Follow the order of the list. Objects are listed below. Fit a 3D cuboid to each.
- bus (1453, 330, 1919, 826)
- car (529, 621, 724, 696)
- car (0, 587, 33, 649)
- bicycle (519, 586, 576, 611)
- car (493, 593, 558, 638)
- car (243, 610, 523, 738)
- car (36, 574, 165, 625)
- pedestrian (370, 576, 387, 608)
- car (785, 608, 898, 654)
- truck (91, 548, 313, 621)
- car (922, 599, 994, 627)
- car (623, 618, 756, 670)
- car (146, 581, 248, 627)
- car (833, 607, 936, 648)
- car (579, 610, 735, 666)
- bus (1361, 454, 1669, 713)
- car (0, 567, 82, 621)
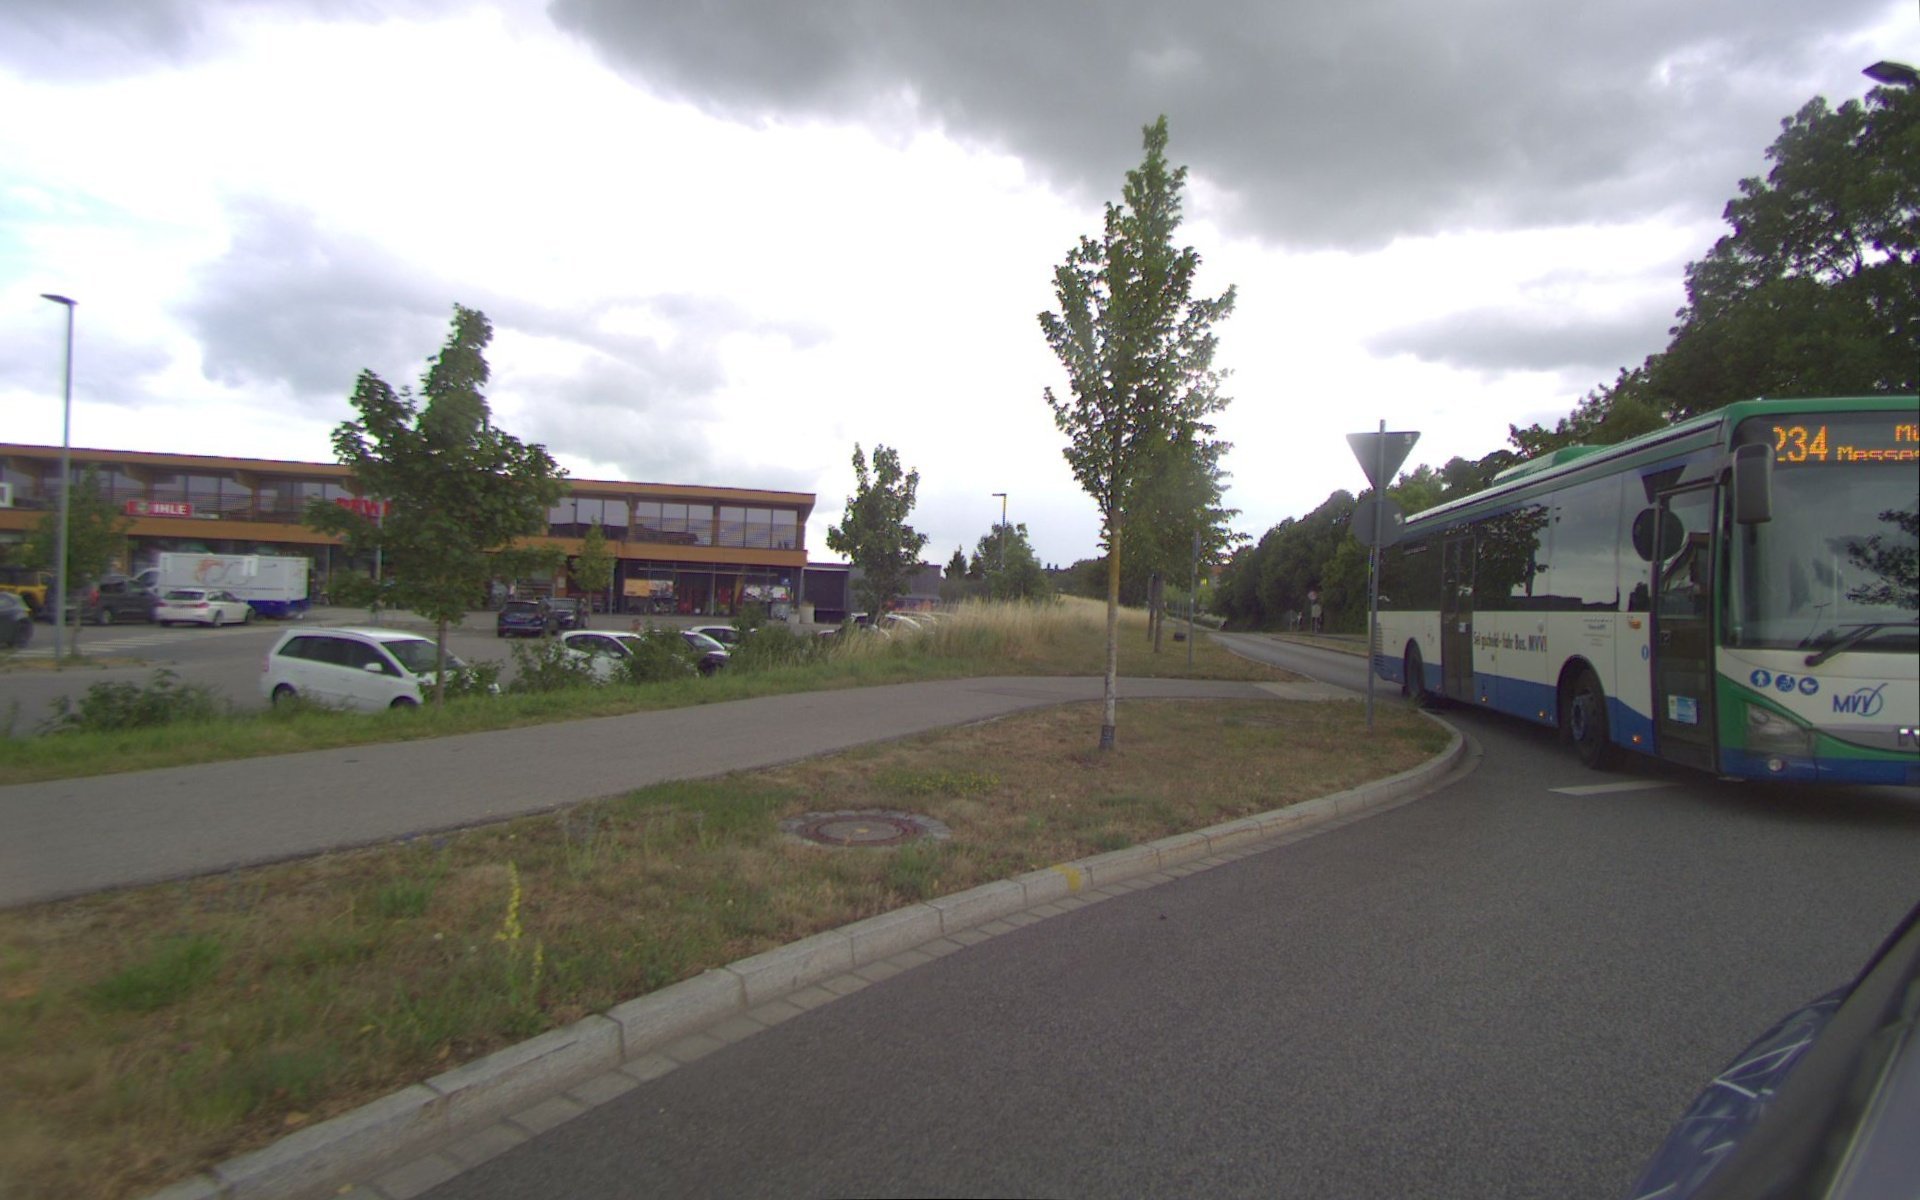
[{"bbox_3d":[7.223,-0.191,9.904,2.484,3.299,6.531,-1,0,10],"label":"bus"},{"bbox_3d":[-7.885,1.343,24.121,3.934,1.527,1.995,1,1,9],"label":"car"},{"bbox_3d":[-25.785,0.483,25.666,1.695,1.572,4.009,2,1,-16],"label":"car"},{"bbox_3d":[-23.180,-0.101,56.934,2.810,1.325,0.981,2,1,-12],"label":"bicycle"},{"bbox_3d":[-17.218,0.585,40.213,1.680,1.588,3.678,2,1,-13],"label":"car"},{"bbox_3d":[-10.324,1.242,18.153,4.384,1.693,1.792,5,2,16],"label":"car"},{"bbox_3d":[-31.369,-0.033,37.097,1.813,1.746,4.128,0,1,-12],"label":"car"},{"bbox_3d":[-31.257,-0.426,54.429,0.735,1.678,0.806,2,1,-31],"label":"pedestrian"},{"bbox_3d":[-4.450,1.135,38.076,3.843,1.482,1.686,2,1,21],"label":"car"},{"bbox_3d":[-32.875,-0.661,44.237,7.105,2.842,2.983,2,1,-15],"label":"truck"},{"bbox_3d":[-0.086,0.725,58.101,3.931,1.462,1.881,2,1,6],"label":"car"},{"bbox_3d":[-8.020,1.274,30.038,3.628,1.310,1.408,2,1,18],"label":"car"},{"bbox_3d":[-28.624,0.118,38.124,1.695,1.549,4.009,2,1,-16],"label":"car"},{"bbox_3d":[-3.105,1.100,41.601,3.843,1.482,1.686,2,1,21],"label":"car"},{"bbox_3d":[-8.015,0.973,26.939,3.614,1.310,1.713,1,1,8],"label":"car"},{"bbox_3d":[8.235,-0.212,15.830,2.484,3.299,5.445,-1,0,10],"label":"bus"},{"bbox_3d":[-34.680,-0.257,37.288,1.735,1.878,4.007,1,1,-11],"label":"car"}]
